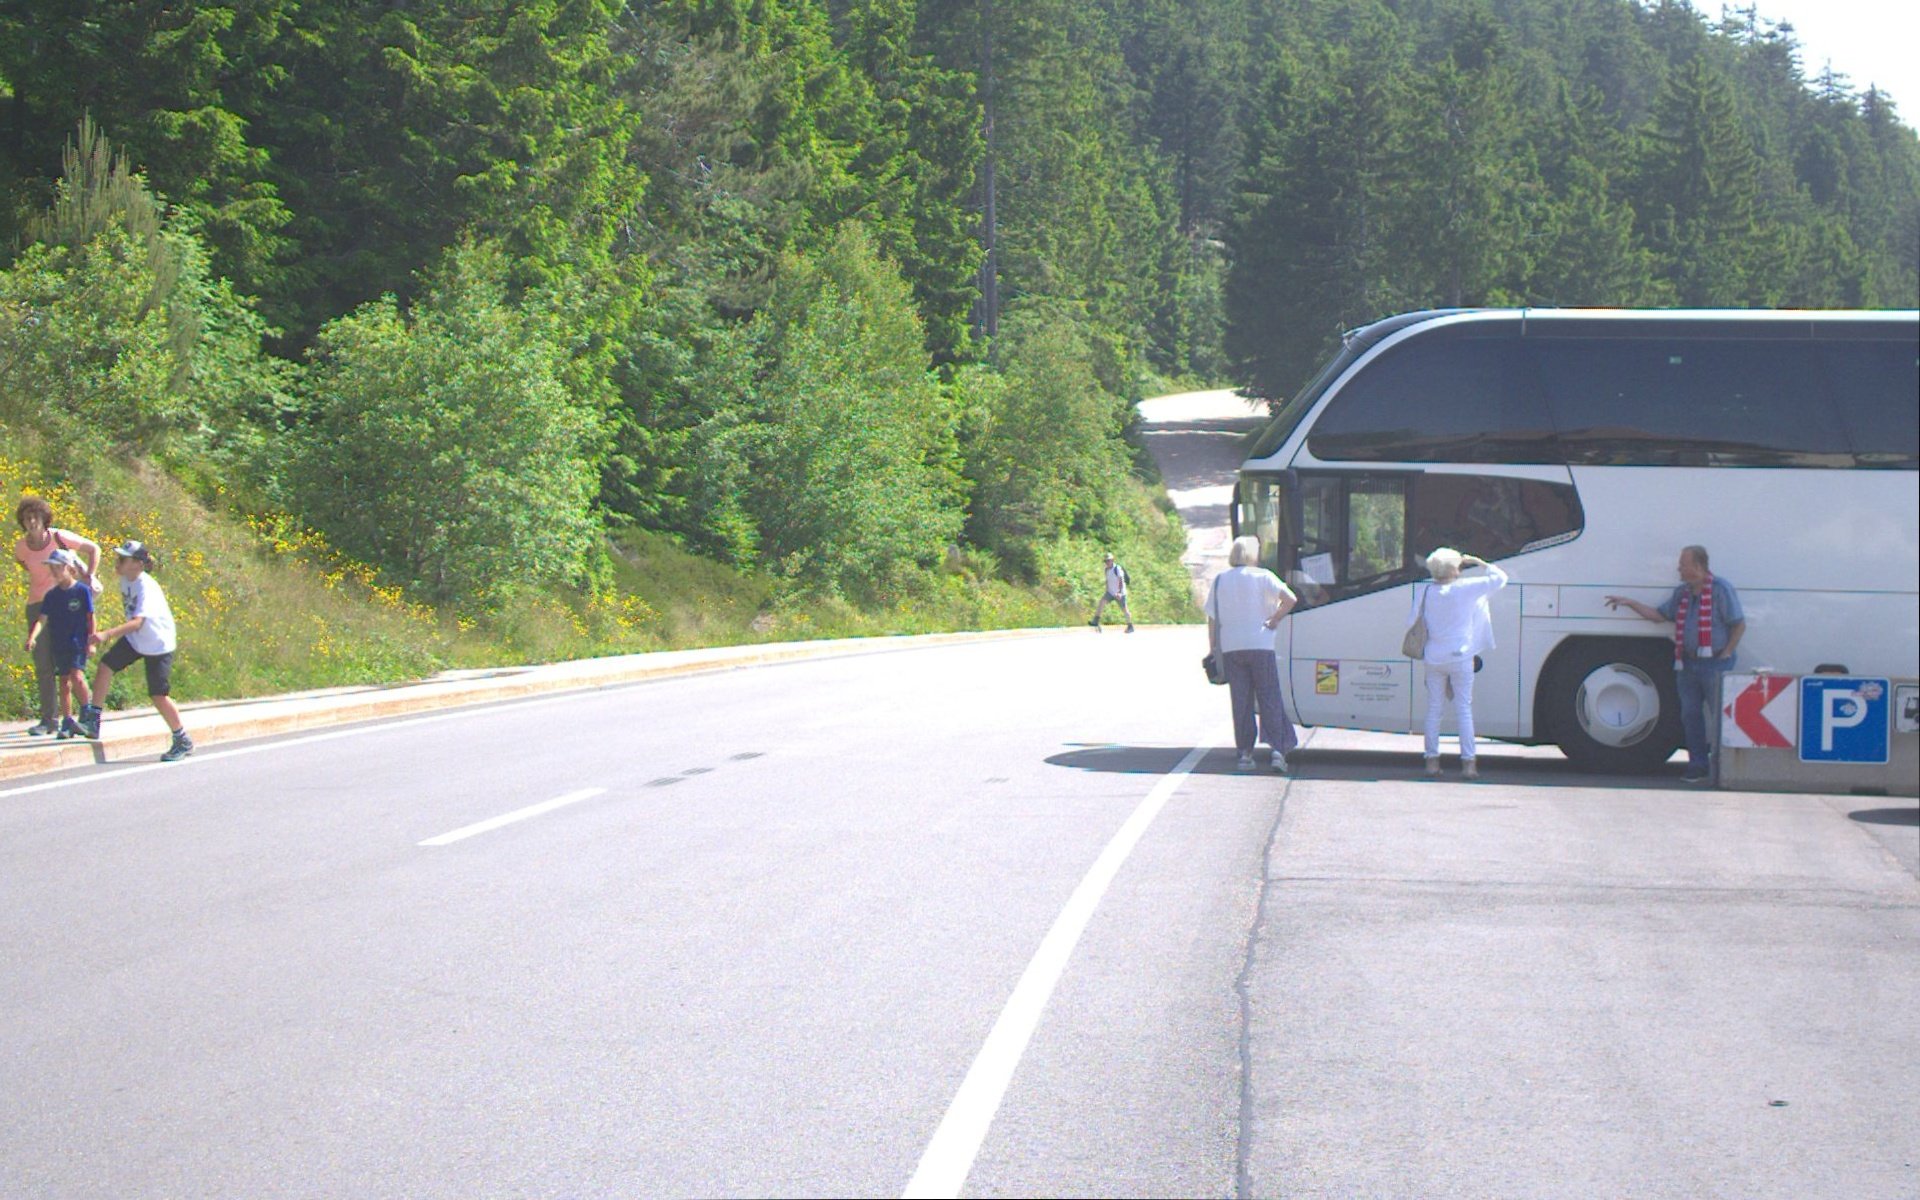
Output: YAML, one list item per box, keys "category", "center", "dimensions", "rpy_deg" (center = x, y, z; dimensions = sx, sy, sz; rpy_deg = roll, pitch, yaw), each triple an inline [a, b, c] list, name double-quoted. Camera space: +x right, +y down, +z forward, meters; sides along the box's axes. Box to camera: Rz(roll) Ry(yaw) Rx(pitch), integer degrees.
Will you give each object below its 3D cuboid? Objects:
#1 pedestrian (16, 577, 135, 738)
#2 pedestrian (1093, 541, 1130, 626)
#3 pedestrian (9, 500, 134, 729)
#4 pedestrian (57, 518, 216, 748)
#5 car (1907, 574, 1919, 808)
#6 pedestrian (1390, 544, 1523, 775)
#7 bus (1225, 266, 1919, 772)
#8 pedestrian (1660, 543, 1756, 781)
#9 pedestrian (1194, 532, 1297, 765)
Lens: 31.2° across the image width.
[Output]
- category: "pedestrian"
  center: [-6.203, 0.397, 24.134]
  dimensions: [0.569, 1.098, 0.744]
  rpy_deg: [0, 1, 8]
- category: "pedestrian"
  center: [3.173, -0.350, 71.977]
  dimensions: [0.682, 1.740, 0.825]
  rpy_deg: [1, 1, 5]
- category: "pedestrian"
  center: [-6.472, 0.094, 25.074]
  dimensions: [0.576, 1.637, 0.894]
  rpy_deg: [0, 1, 8]
- category: "pedestrian"
  center: [-5.620, 0.212, 23.470]
  dimensions: [0.877, 1.532, 0.582]
  rpy_deg: [-1, 2, -42]
- category: "car"
  center: [8.077, 0.604, 20.884]
  dimensions: [4.427, 1.391, 1.717]
  rpy_deg: [2, 1, 15]
- category: "pedestrian"
  center: [3.497, 0.403, 24.212]
  dimensions: [0.645, 1.590, 0.743]
  rpy_deg: [1, 2, 37]
- category: "bus"
  center: [8.548, -0.569, 25.279]
  dimensions: [12.853, 3.565, 2.837]
  rpy_deg: [1, 1, 13]
- category: "pedestrian"
  center: [5.250, 0.420, 24.120]
  dimensions: [0.644, 1.637, 0.744]
  rpy_deg: [0, 1, 13]
- category: "pedestrian"
  center: [2.037, 0.349, 24.611]
  dimensions: [0.707, 1.637, 0.744]
  rpy_deg: [0, -1, 3]
